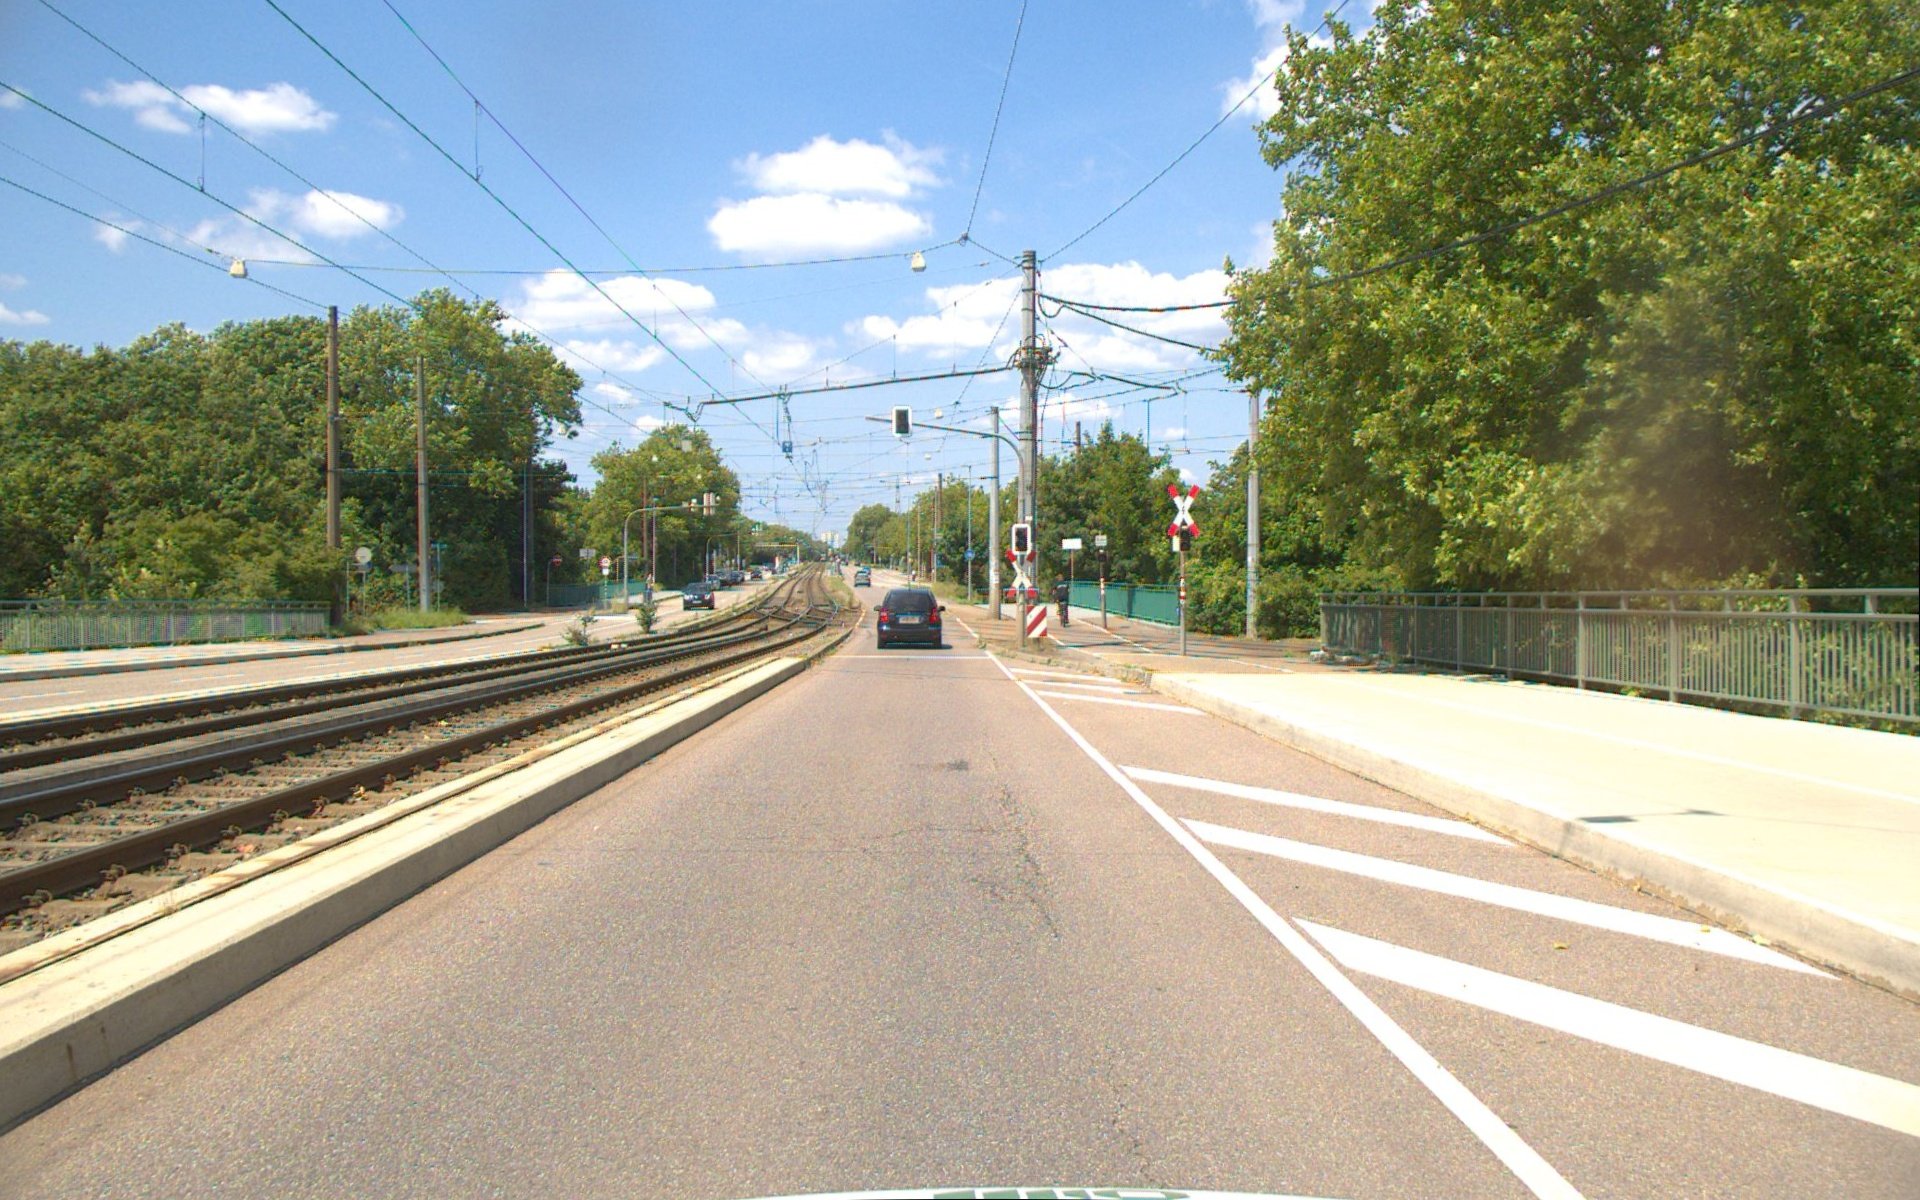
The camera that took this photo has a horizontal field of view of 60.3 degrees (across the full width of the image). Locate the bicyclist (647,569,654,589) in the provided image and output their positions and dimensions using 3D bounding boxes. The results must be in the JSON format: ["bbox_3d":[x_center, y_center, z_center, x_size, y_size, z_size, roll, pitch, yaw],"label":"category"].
[{"bbox_3d":[-23.669,-1.598,126.610,0.447,1.499,0.633,0,1,-2],"label":"bicyclist"}]

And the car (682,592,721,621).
[{"bbox_3d":[-15.088,0.382,96.591,1.670,1.536,3.733,-1,2,0],"label":"car"}]

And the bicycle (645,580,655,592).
[{"bbox_3d":[-23.686,-1.091,126.469,0.459,0.883,1.742,0,1,-2],"label":"bicycle"}]

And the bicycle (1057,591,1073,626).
[{"bbox_3d":[3.719,0.289,58.848,0.423,1.172,1.855,1,2,0],"label":"bicycle"}]

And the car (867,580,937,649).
[{"bbox_3d":[-1.552,0.362,45.313,1.815,1.597,4.388,1,3,-1],"label":"car"}]

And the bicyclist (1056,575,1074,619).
[{"bbox_3d":[3.721,-0.106,58.785,0.573,1.520,0.558,1,2,0],"label":"bicyclist"}]

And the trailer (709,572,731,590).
[{"bbox_3d":[-27.617,-2.194,190.276,2.416,1.921,5.950,0,1,-9],"label":"trailer"}]

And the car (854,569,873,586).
[{"bbox_3d":[-10.971,-2.551,188.084,1.847,1.668,4.000,3,2,-1],"label":"car"}]

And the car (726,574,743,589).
[{"bbox_3d":[-30.508,-2.471,223.555,1.954,2.049,3.997,0,0,-4],"label":"car"}]
